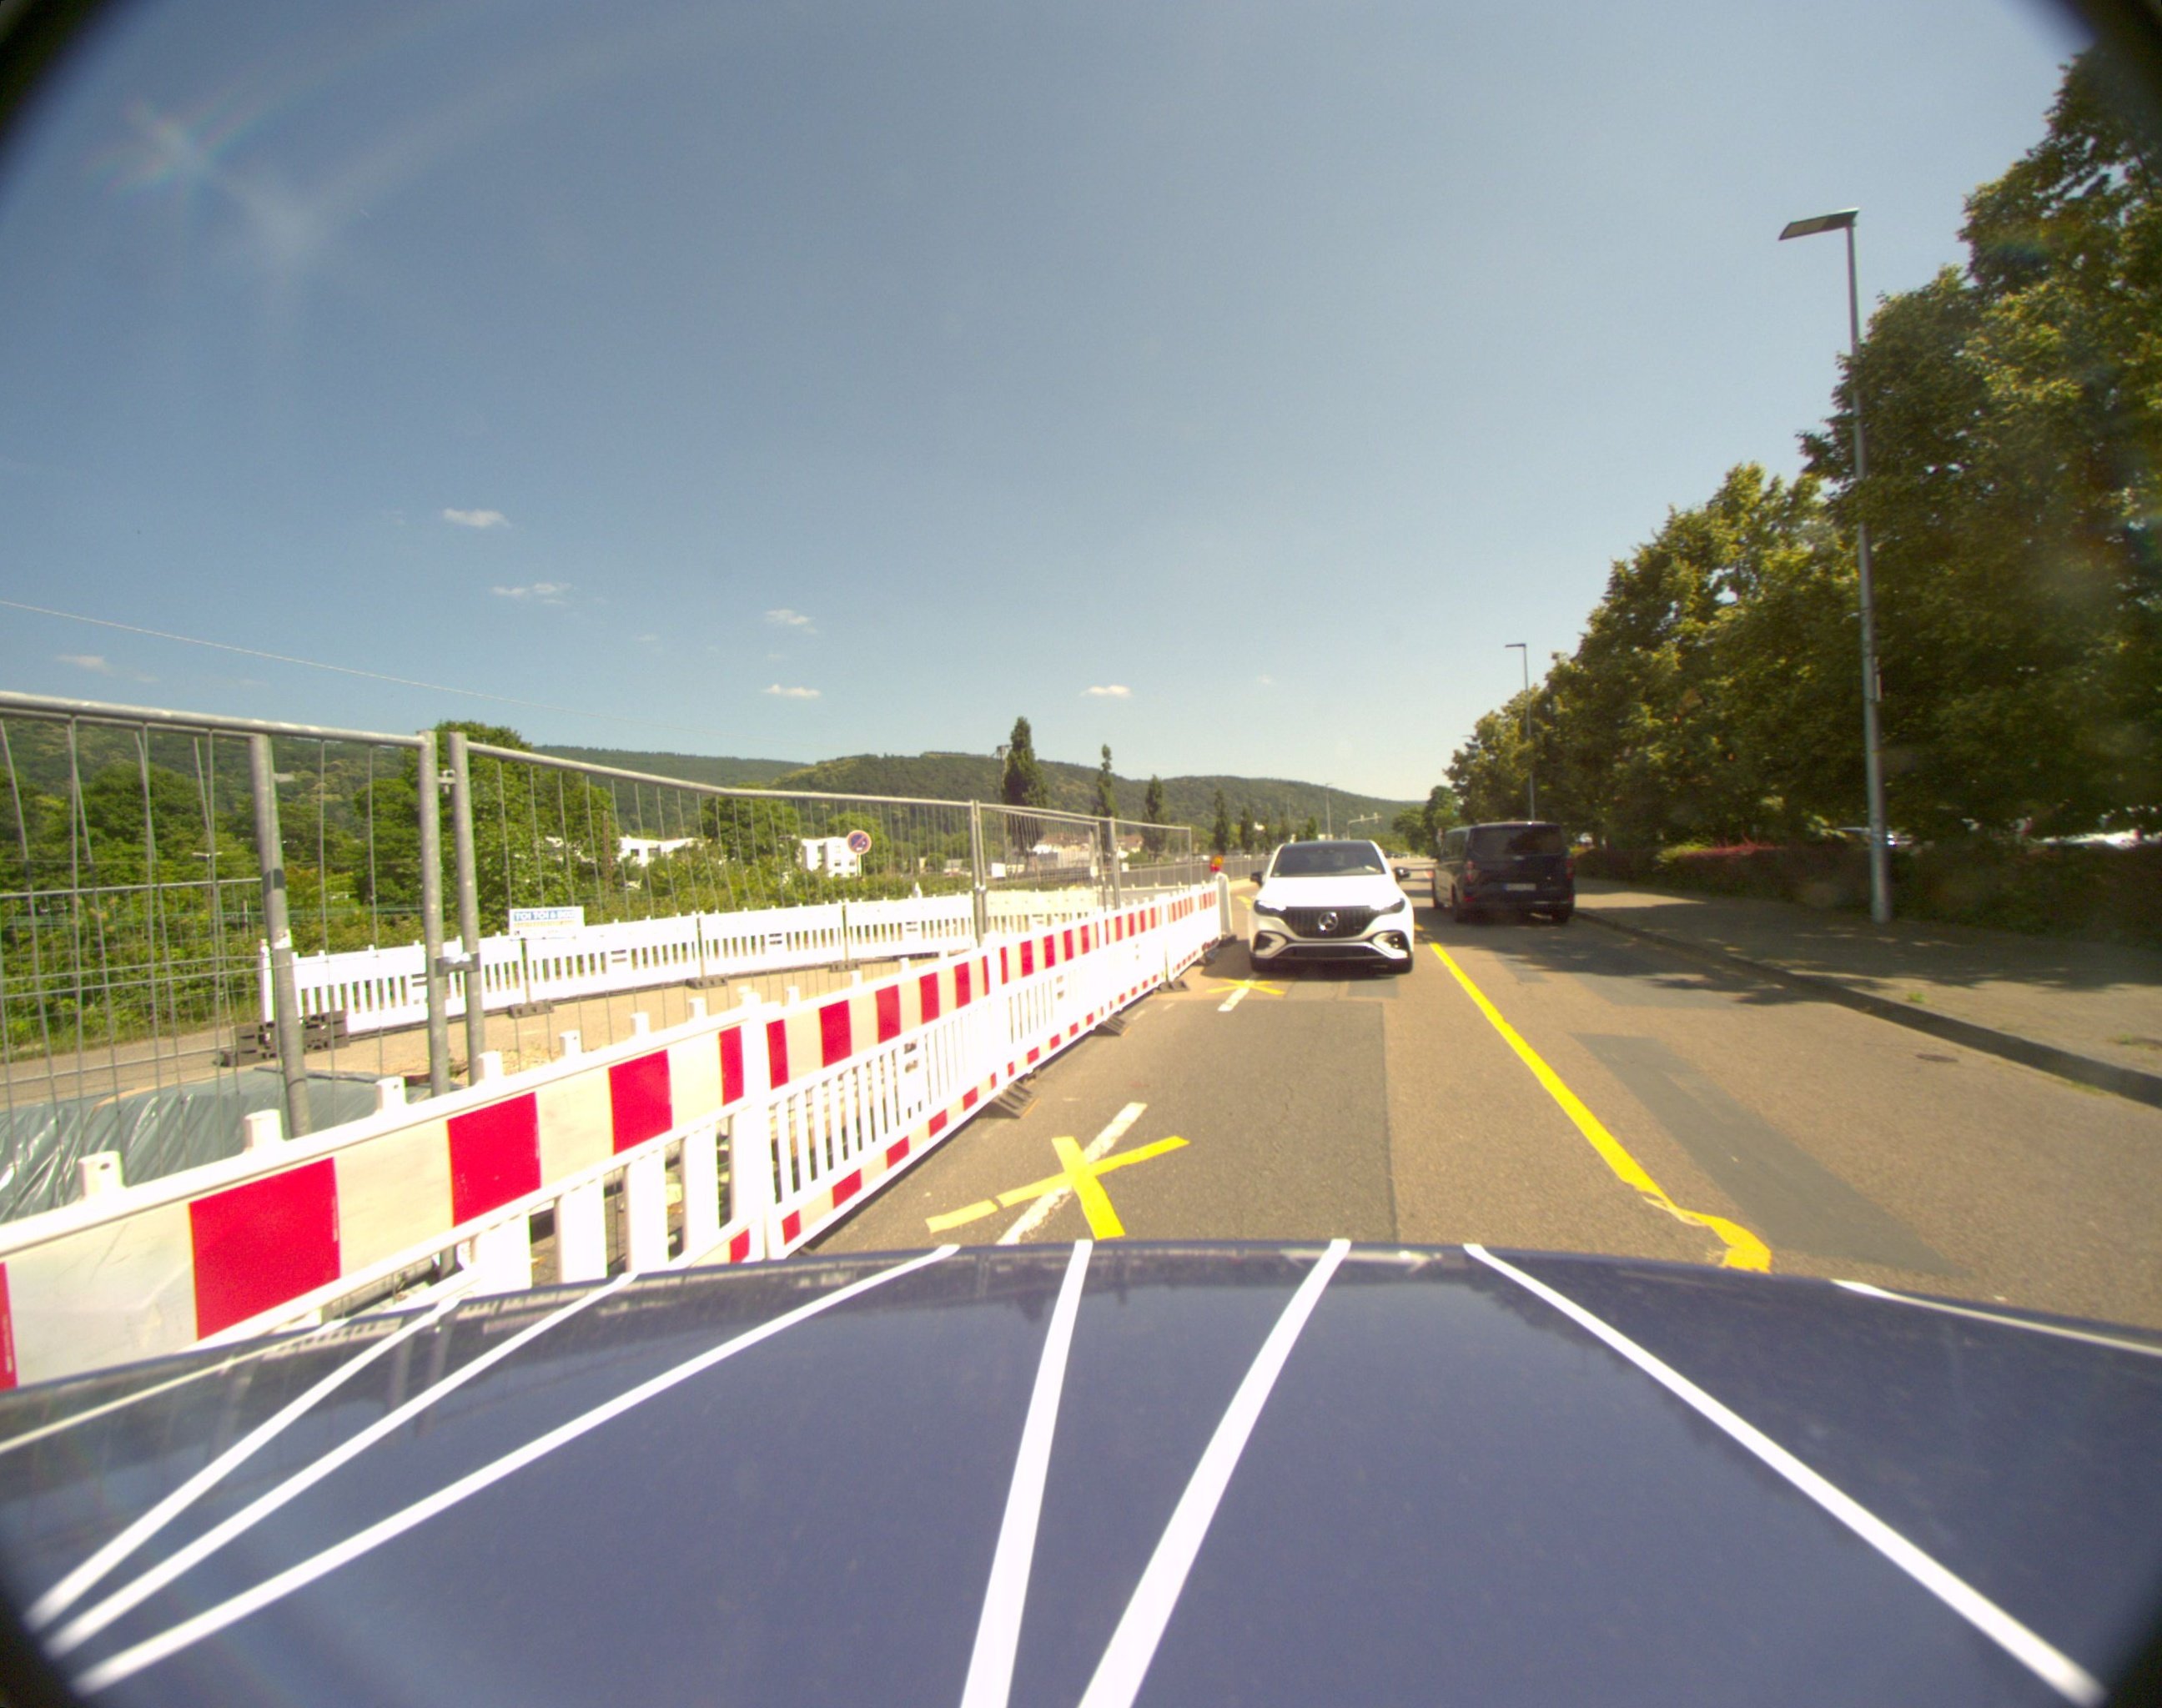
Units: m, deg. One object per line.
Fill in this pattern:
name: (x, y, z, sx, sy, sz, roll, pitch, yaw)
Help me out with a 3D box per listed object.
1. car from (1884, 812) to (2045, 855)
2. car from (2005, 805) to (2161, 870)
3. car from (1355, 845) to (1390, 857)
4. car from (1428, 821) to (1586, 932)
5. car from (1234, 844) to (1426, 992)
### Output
car: (36.236, -0.793, 31.347, 1.919, 1.543, 4.144, -3, 0, 5)
car: (29.719, -0.513, 21.619, 4.308, 1.676, 1.863, -3, 0, 4)
car: (41.494, -0.438, 108.256, 2.002, 1.635, 4.520, -2, 0, -21)
car: (8.817, 0.388, 16.261, 2.179, 1.956, 5.452, -2, 0, 21)
car: (3.576, 0.739, 11.045, 1.996, 1.635, 5.038, -3, -1, 18)
